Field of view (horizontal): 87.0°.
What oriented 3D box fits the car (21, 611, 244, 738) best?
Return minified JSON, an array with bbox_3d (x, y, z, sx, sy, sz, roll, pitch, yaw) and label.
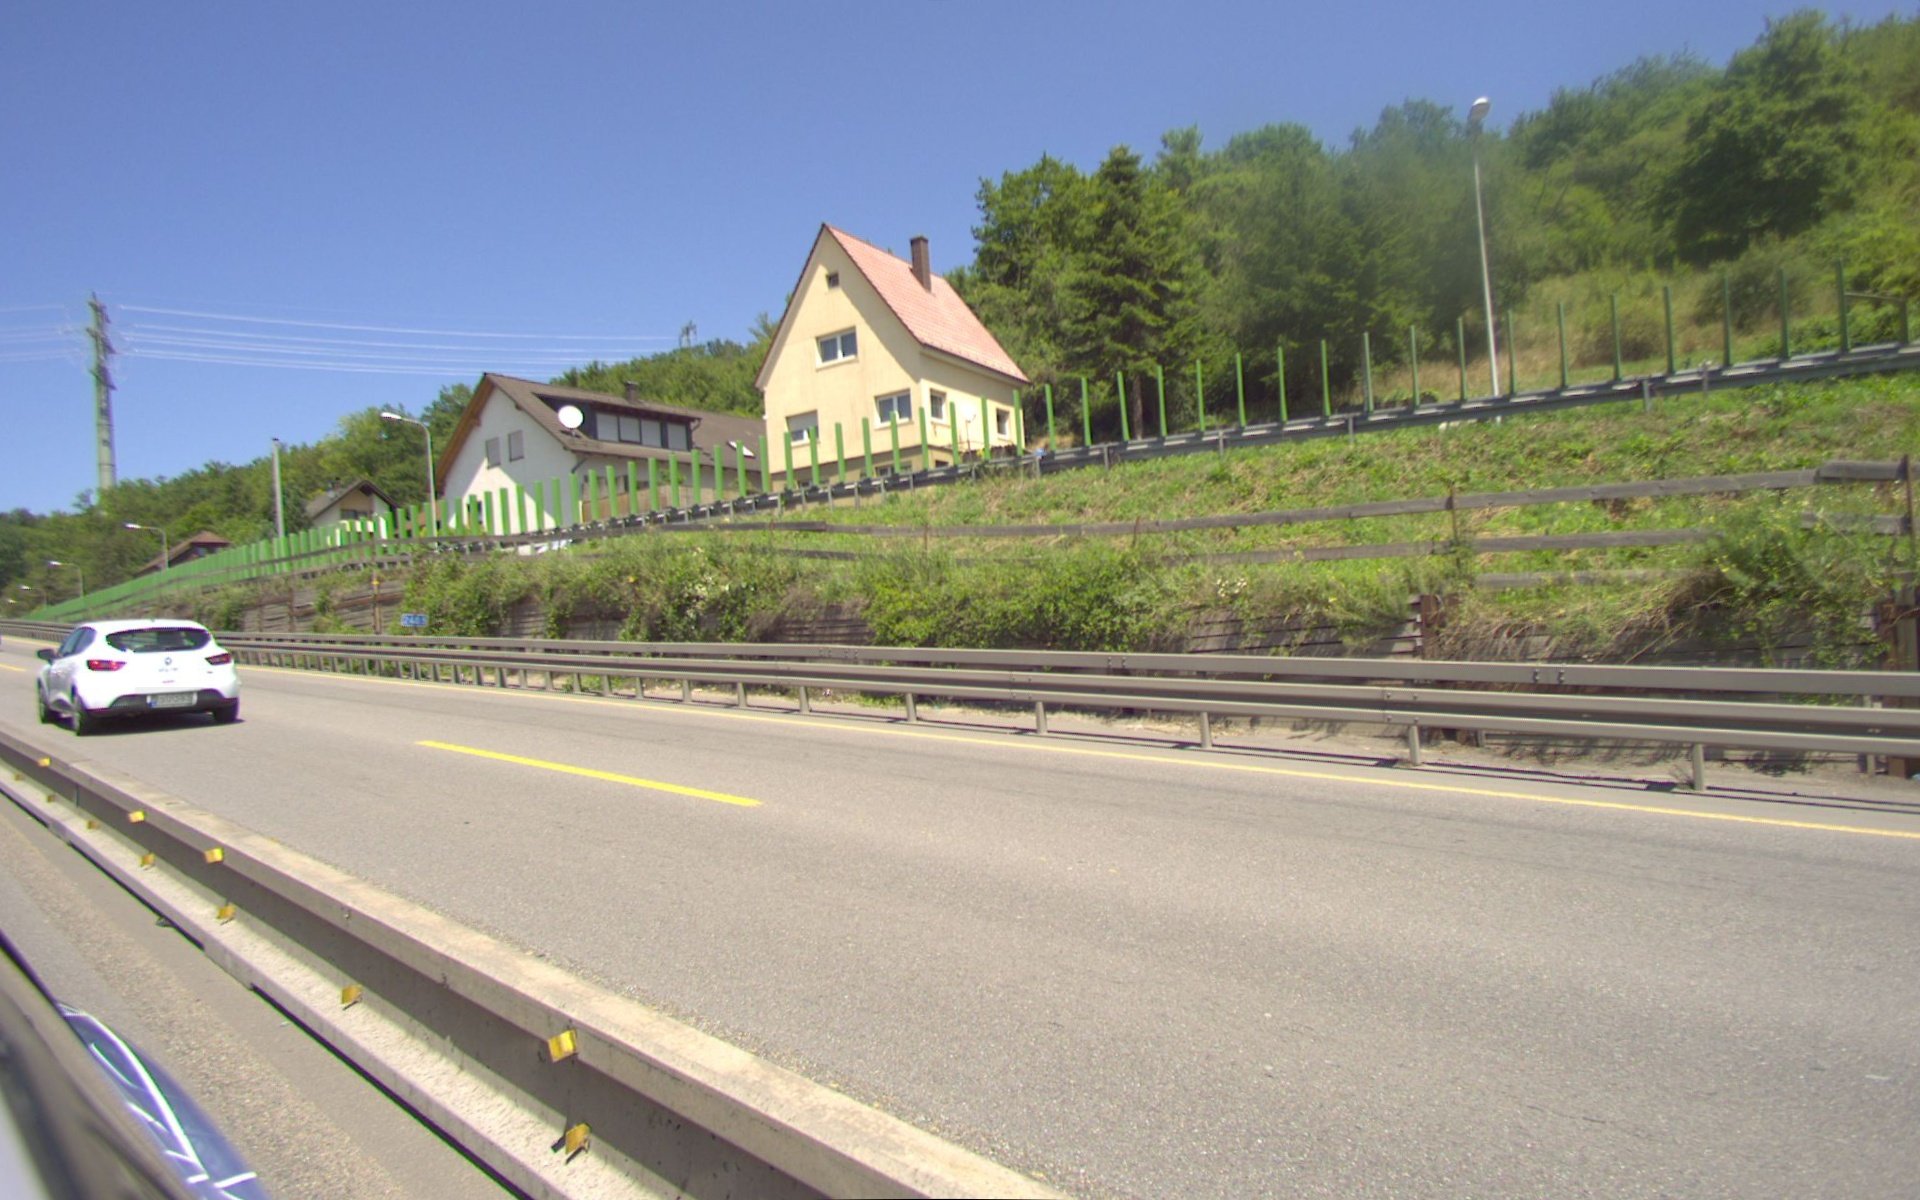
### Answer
[{"bbox_3d":[-11.557,0.944,14.068,3.745,1.497,1.674,-2,0,39],"label":"car"}]
